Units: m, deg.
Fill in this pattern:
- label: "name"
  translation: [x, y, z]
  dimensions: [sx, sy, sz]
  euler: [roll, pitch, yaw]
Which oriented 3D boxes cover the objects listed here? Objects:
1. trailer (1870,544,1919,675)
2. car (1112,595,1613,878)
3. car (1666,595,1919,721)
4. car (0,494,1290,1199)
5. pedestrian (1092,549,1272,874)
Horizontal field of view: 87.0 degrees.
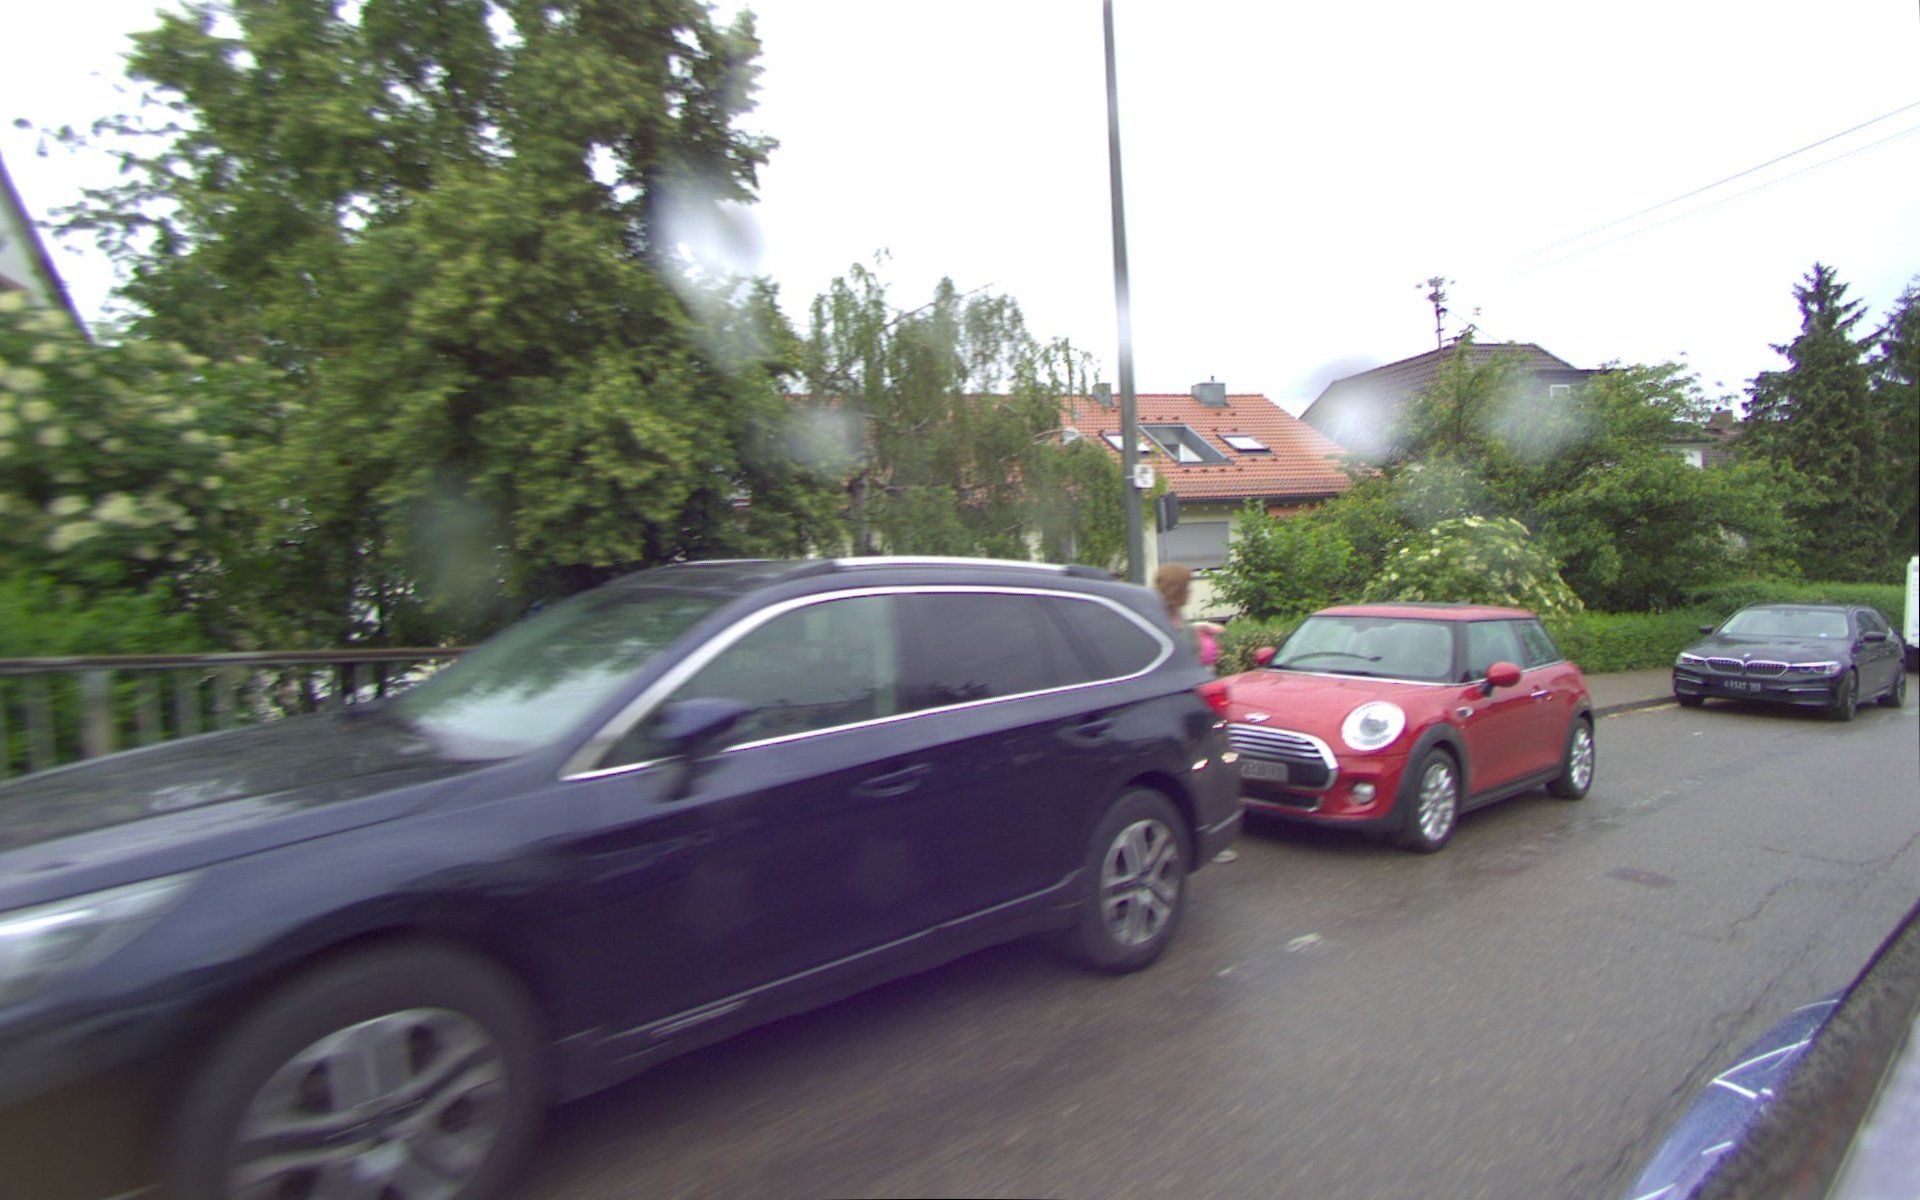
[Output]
- label: "trailer"
  translation: [20.659, 0.168, 20.476]
  dimensions: [5.328, 2.487, 1.956]
  euler: [0, 0, -32]
- label: "car"
  translation: [2.968, 0.691, 7.106]
  dimensions: [3.785, 1.432, 1.738]
  euler: [0, 1, -41]
- label: "car"
  translation: [11.815, 0.688, 14.194]
  dimensions: [4.700, 1.477, 1.798]
  euler: [0, 1, -38]
- label: "car"
  translation: [-0.846, 0.561, 3.643]
  dimensions: [4.643, 1.525, 1.818]
  euler: [0, 1, -42]
- label: "pedestrian"
  translation: [1.240, 0.566, 5.659]
  dimensions: [0.695, 1.656, 0.718]
  euler: [1, 0, -41]
